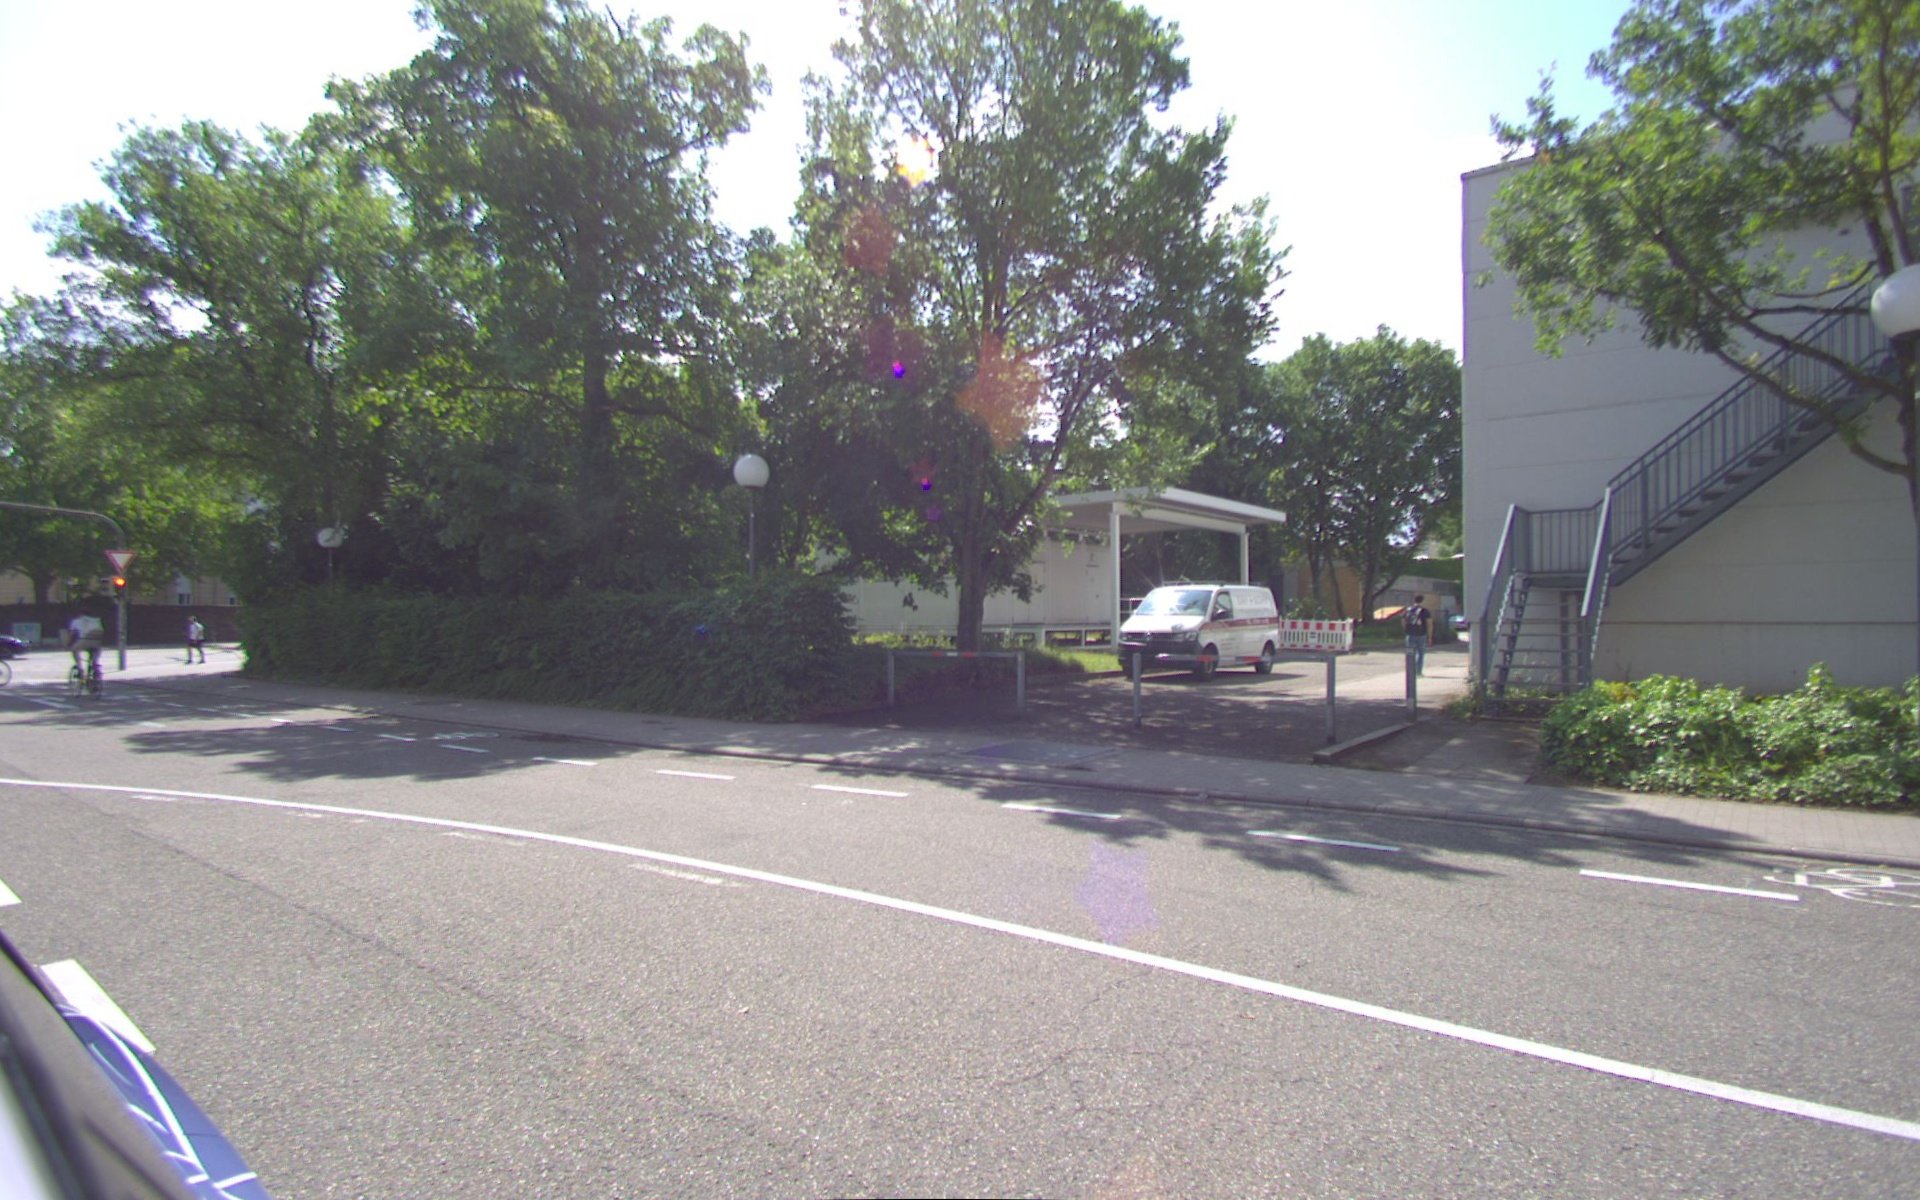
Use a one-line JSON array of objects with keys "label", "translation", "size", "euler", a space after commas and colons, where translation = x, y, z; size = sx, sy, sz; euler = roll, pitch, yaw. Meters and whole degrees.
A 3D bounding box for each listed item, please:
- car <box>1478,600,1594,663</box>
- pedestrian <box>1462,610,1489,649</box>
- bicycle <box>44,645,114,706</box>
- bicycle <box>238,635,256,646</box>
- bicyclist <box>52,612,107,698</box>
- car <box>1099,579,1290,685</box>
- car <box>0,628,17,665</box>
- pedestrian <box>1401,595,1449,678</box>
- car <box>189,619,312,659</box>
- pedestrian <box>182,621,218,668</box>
[{"label": "car", "translation": [16.744, 0.892, 29.279], "size": [1.999, 1.667, 4.870], "euler": [-3, -2, 40]}, {"label": "pedestrian", "translation": [21.041, 1.206, 41.274], "size": [0.771, 1.558, 0.817], "euler": [-2, -2, 41]}, {"label": "bicycle", "translation": [-18.496, 1.550, 21.229], "size": [2.206, 1.180, 0.686], "euler": [-1, -1, 38]}, {"label": "bicycle", "translation": [-45.396, 2.562, 64.422], "size": [0.998, 0.687, 0.407], "euler": [1, 0, 14]}, {"label": "bicyclist", "translation": [-18.425, 1.138, 21.180], "size": [0.917, 1.750, 0.686], "euler": [-1, -1, 38]}, {"label": "car", "translation": [5.123, 0.620, 21.584], "size": [1.999, 2.001, 4.870], "euler": [0, 0, 40]}, {"label": "car", "translation": [-39.918, 1.874, 39.775], "size": [4.128, 1.426, 1.832], "euler": [0, 0, -44]}, {"label": "pedestrian", "translation": [9.494, 0.737, 20.671], "size": [0.665, 1.660, 0.758], "euler": [-2, -2, 41]}, {"label": "car", "translation": [-32.895, 1.764, 46.983], "size": [1.826, 1.691, 4.414], "euler": [-1, -1, 44]}, {"label": "pedestrian", "translation": [-28.320, 1.667, 37.713], "size": [0.854, 1.714, 0.918], "euler": [-3, -3, 42]}]
